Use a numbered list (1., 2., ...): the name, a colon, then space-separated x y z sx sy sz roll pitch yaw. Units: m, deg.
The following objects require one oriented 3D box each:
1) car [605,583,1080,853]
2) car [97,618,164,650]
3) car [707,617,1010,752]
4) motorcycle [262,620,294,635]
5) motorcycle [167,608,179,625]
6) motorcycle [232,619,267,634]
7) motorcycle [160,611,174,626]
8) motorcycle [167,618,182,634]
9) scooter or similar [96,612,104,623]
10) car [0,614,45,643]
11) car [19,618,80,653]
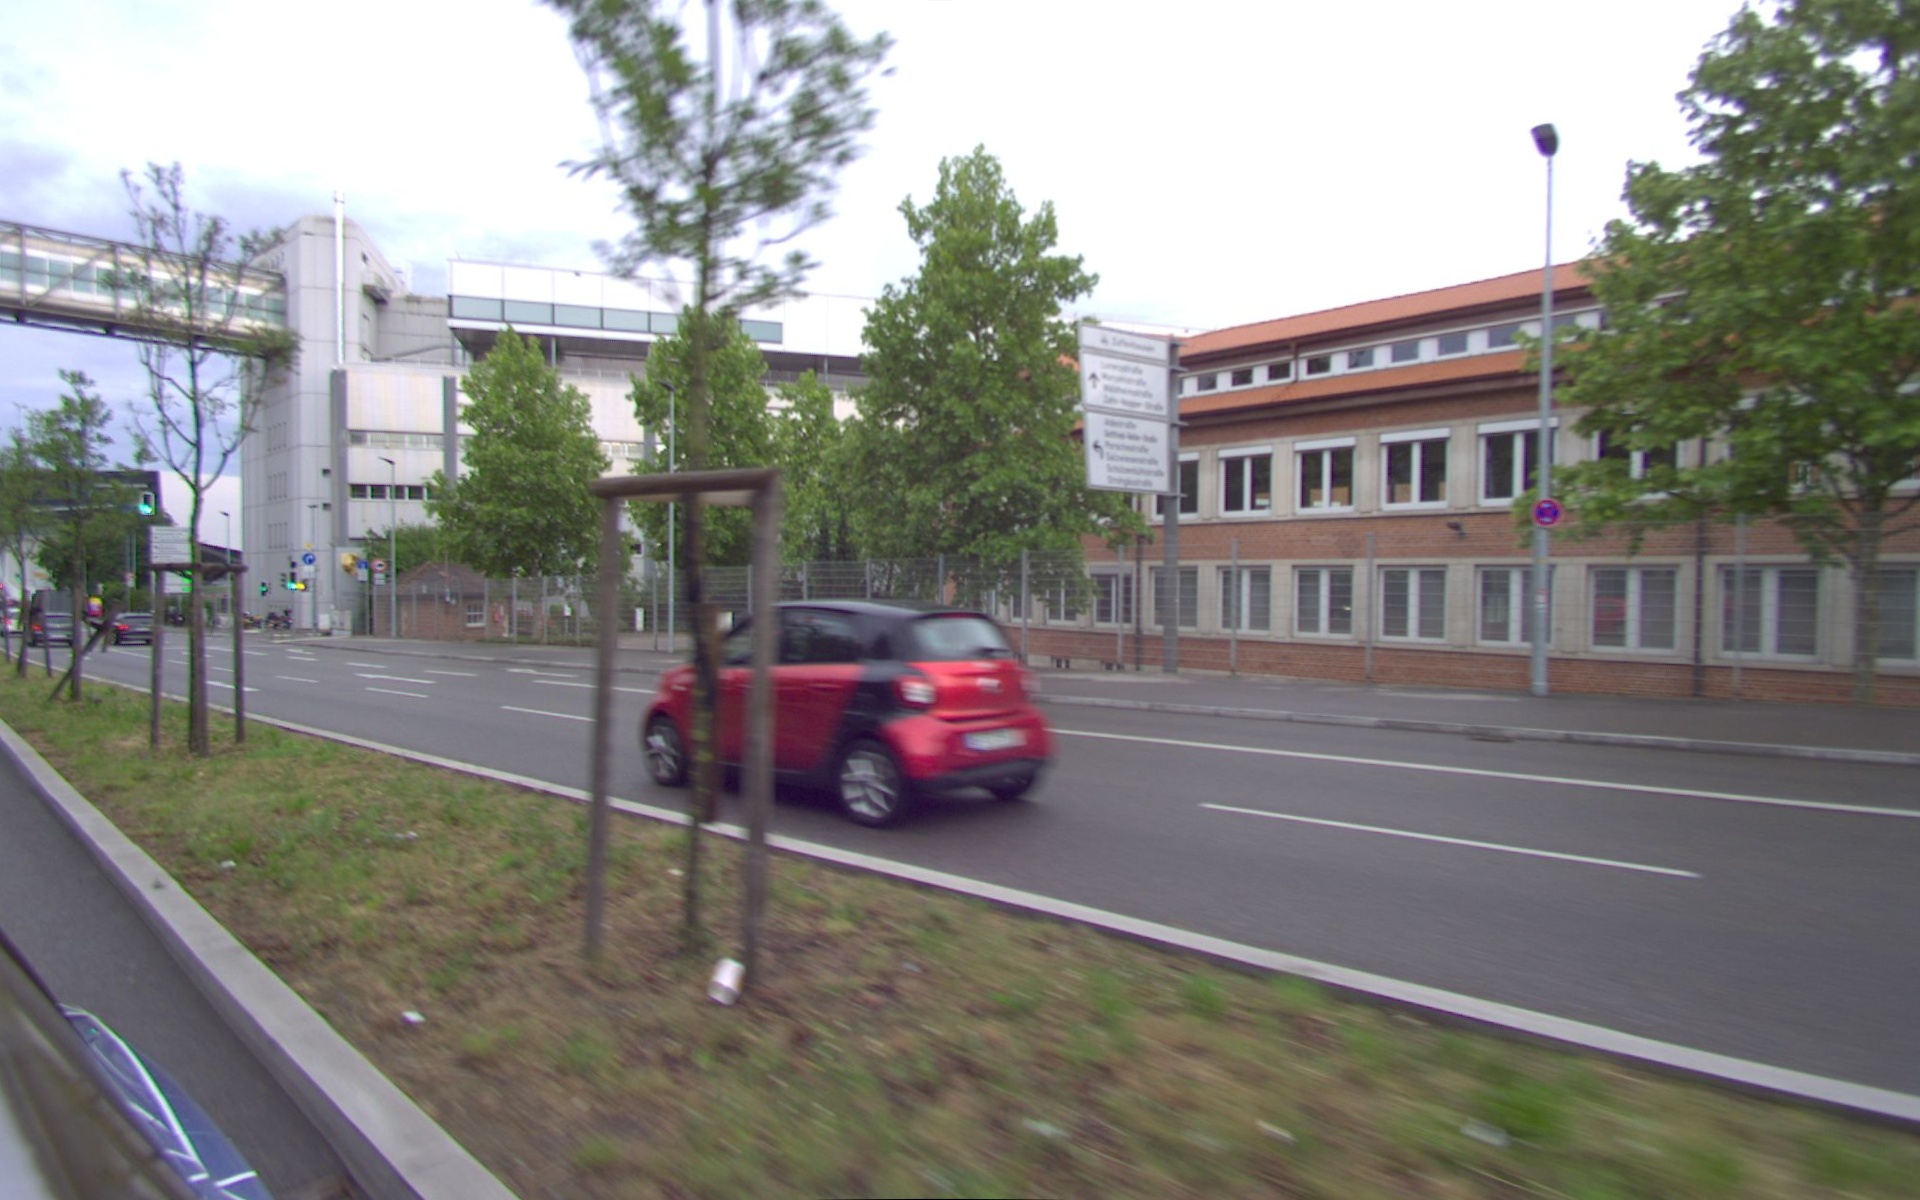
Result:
1. car: -1.090 0.744 7.958 3.855 1.617 1.568 -1 -2 42
2. car: -38.088 1.521 46.427 4.615 1.414 1.754 -1 -1 43
3. car: -1.366 0.951 12.782 3.770 1.448 1.697 -1 -2 41
4. motorcycle: -48.050 1.901 71.270 2.151 1.035 0.623 0 -1 16
5. motorcycle: -63.171 1.316 81.205 0.617 1.277 2.174 -2 1 -42
6. motorcycle: -50.305 1.855 71.634 2.145 1.035 0.625 0 -1 8
7. motorcycle: -65.581 1.495 83.648 1.968 1.224 0.618 0 -1 44
8. motorcycle: -60.045 1.988 77.343 2.038 1.171 0.561 0 -1 41
9. scooter or similar: -84.677 1.727 99.641 1.569 1.138 0.389 0 -1 44
10. car: -54.042 1.619 58.243 4.486 1.601 1.752 0 -1 44
11. car: -39.104 1.474 43.442 4.111 1.414 1.560 -1 -1 43
